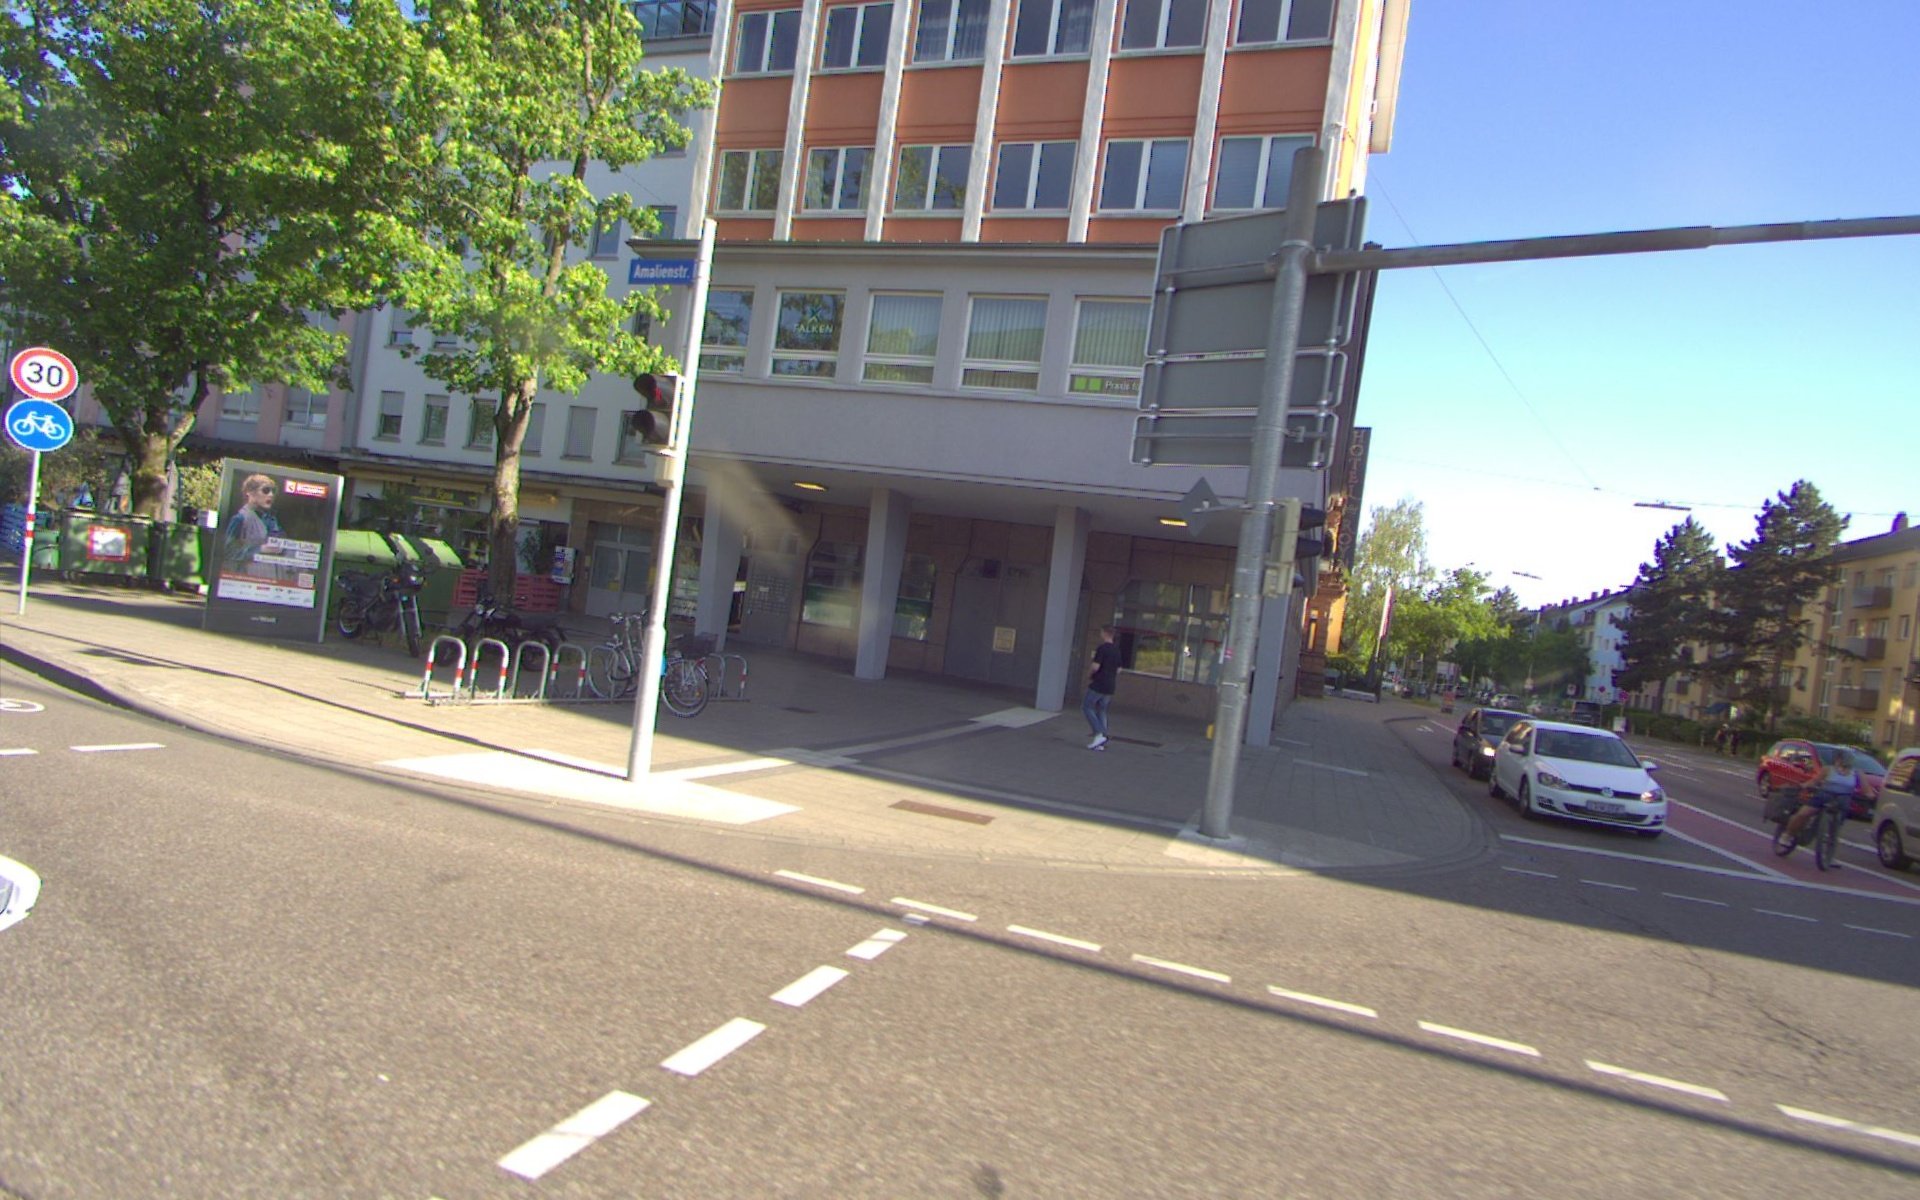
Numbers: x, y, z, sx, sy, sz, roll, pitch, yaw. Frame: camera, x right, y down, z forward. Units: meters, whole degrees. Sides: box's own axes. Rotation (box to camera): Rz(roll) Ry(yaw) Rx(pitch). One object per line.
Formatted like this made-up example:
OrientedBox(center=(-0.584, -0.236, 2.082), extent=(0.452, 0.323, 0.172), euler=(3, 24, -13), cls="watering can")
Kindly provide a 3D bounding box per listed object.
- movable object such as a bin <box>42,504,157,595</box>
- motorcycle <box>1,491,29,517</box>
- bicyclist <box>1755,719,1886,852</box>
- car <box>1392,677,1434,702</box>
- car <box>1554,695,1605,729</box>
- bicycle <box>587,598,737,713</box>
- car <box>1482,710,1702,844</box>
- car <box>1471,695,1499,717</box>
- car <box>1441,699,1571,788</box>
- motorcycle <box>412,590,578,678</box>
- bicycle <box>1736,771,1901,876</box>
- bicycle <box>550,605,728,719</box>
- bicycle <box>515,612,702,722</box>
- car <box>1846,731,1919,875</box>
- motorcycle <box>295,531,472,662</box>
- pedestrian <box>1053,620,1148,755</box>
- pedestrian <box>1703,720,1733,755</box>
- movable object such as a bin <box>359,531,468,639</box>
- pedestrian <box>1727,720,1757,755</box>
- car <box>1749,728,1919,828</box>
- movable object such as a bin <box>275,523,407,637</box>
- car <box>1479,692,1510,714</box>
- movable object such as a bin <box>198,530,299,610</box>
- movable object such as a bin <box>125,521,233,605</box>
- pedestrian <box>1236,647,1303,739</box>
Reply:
OrientedBox(center=(-15.599, -0.907, 18.252), extent=(0.908, 1.407, 1.281), euler=(6, -3, 37), cls="movable object such as a bin")
OrientedBox(center=(-48.932, -4.941, 52.093), extent=(0.759, 1.169, 2.028), euler=(5, 0, -36), cls="motorcycle")
OrientedBox(center=(11.638, 2.476, 13.647), extent=(0.924, 1.578, 0.937), euler=(7, -2, 17), cls="bicyclist")
OrientedBox(center=(36.485, 7.184, 81.072), extent=(1.962, 1.741, 4.254), euler=(7, -3, 11), cls="car")
OrientedBox(center=(43.291, 7.829, 70.353), extent=(1.963, 2.036, 4.252), euler=(7, -3, 19), cls="car")
OrientedBox(center=(-4.041, 0.747, 13.639), extent=(1.813, 1.258, 0.534), euler=(9, -1, 18), cls="bicycle")
OrientedBox(center=(9.668, 2.630, 15.777), extent=(1.811, 1.519, 4.169), euler=(5, -3, 18), cls="car")
OrientedBox(center=(57.328, 11.589, 109.894), extent=(1.963, 2.036, 4.252), euler=(7, -3, 19), cls="car")
OrientedBox(center=(11.574, 2.975, 21.584), extent=(1.547, 1.443, 4.167), euler=(5, -2, 18), cls="car")
OrientedBox(center=(-6.530, 0.516, 14.282), extent=(0.748, 1.033, 2.105), euler=(8, -2, 20), cls="motorcycle")
OrientedBox(center=(11.587, 2.983, 13.686), extent=(0.845, 1.011, 2.151), euler=(7, -3, 18), cls="bicycle")
OrientedBox(center=(-4.024, 0.769, 12.590), extent=(2.080, 1.129, 0.477), euler=(7, -2, 16), cls="bicycle")
OrientedBox(center=(-4.157, 0.779, 11.887), extent=(2.080, 0.996, 0.477), euler=(7, -2, 16), cls="bicycle")
OrientedBox(center=(13.702, 2.811, 12.760), extent=(1.910, 1.870, 4.608), euler=(7, -3, 19), cls="car")
OrientedBox(center=(-8.435, -0.057, 14.687), extent=(2.500, 1.557, 0.805), euler=(8, -1, 26), cls="motorcycle")
OrientedBox(center=(2.103, 1.308, 15.063), extent=(0.879, 1.865, 0.825), euler=(6, -2, 42), cls="pedestrian")
OrientedBox(center=(40.215, 7.281, 53.392), extent=(0.828, 1.692, 0.779), euler=(7, -2, 2), cls="pedestrian")
OrientedBox(center=(-9.670, -0.245, 17.839), extent=(0.927, 1.729, 1.260), euler=(6, 0, 19), cls="movable object such as a bin")
OrientedBox(center=(41.505, 7.295, 53.383), extent=(0.828, 1.692, 0.779), euler=(7, -2, 2), cls="pedestrian")
OrientedBox(center=(19.860, 3.934, 22.837), extent=(1.794, 1.554, 4.382), euler=(8, -1, 23), cls="car")
OrientedBox(center=(-10.188, -0.301, 16.607), extent=(0.989, 1.659, 1.386), euler=(7, -1, 19), cls="movable object such as a bin")
OrientedBox(center=(55.178, 10.630, 103.946), extent=(1.963, 2.036, 4.252), euler=(7, -3, 19), cls="car")
OrientedBox(center=(-14.548, -0.602, 20.607), extent=(0.942, 1.406, 1.218), euler=(7, -2, 21), cls="movable object such as a bin")
OrientedBox(center=(-14.922, -0.692, 19.246), extent=(0.910, 1.371, 1.177), euler=(7, -2, 21), cls="movable object such as a bin")
OrientedBox(center=(6.543, 1.951, 21.306), extent=(0.884, 1.799, 0.857), euler=(8, -2, -7), cls="pedestrian")
